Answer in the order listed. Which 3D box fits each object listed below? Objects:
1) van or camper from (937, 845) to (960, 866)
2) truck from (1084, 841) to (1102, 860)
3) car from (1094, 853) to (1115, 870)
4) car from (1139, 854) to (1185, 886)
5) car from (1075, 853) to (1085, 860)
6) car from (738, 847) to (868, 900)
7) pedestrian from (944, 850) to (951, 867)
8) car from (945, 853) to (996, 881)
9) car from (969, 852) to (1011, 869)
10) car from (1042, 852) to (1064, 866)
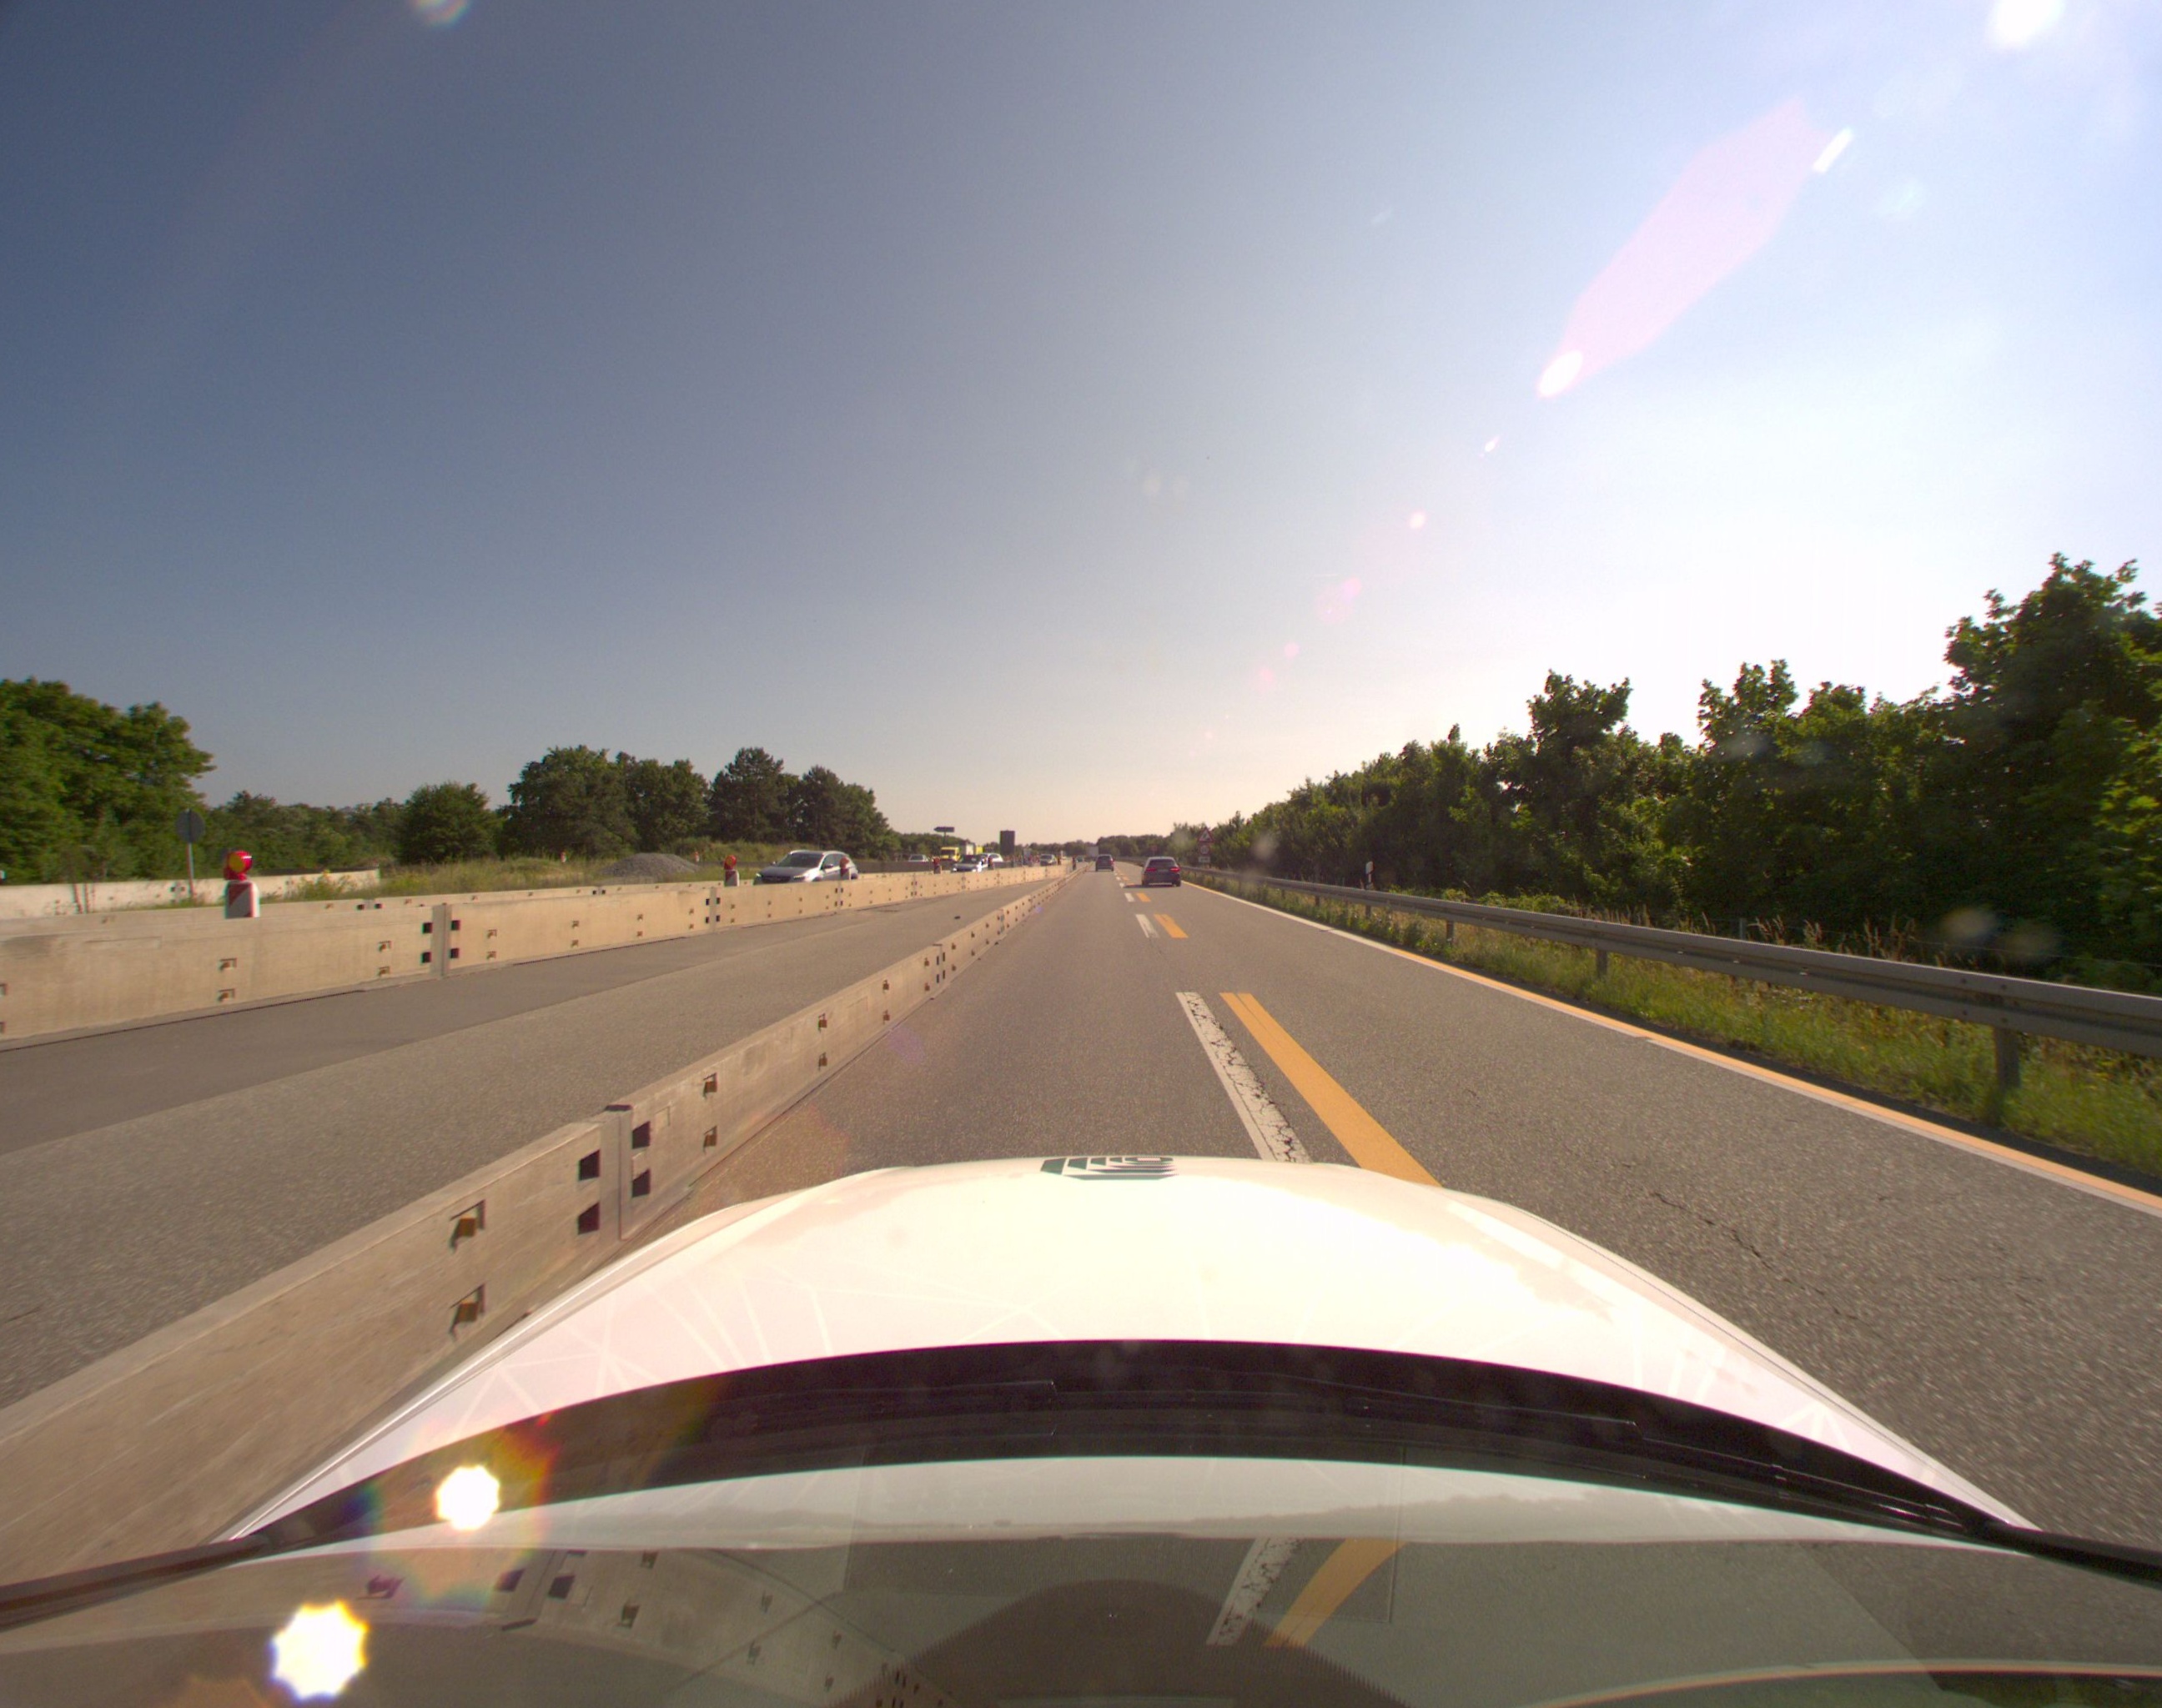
[{"bbox_3d":[-15.340,0.209,94.464,1.990,2.378,6.192,0,0,-4],"label":"van or camper"},{"bbox_3d":[3.085,-0.976,220.476,3.753,4.911,14.119,1,0,-3],"label":"truck"},{"bbox_3d":[2.294,0.678,78.755,1.986,1.567,4.002,0,0,2],"label":"car"},{"bbox_3d":[3.944,0.763,40.437,1.914,1.494,4.000,1,0,0],"label":"car"},{"bbox_3d":[-0.216,0.590,177.742,1.851,1.473,4.688,2,0,3],"label":"car"},{"bbox_3d":[-8.700,0.555,26.002,1.982,1.515,4.592,0,0,9],"label":"car"},{"bbox_3d":[-14.474,0.487,88.526,0.741,1.820,0.794,0,0,-10],"label":"pedestrian"},{"bbox_3d":[-6.218,0.687,46.167,1.701,1.515,4.189,0,0,9],"label":"car"},{"bbox_3d":[-8.575,0.623,77.194,1.935,1.554,4.024,1,0,29],"label":"car"},{"bbox_3d":[-3.280,0.605,96.475,1.984,1.622,4.854,0,0,5],"label":"car"}]
